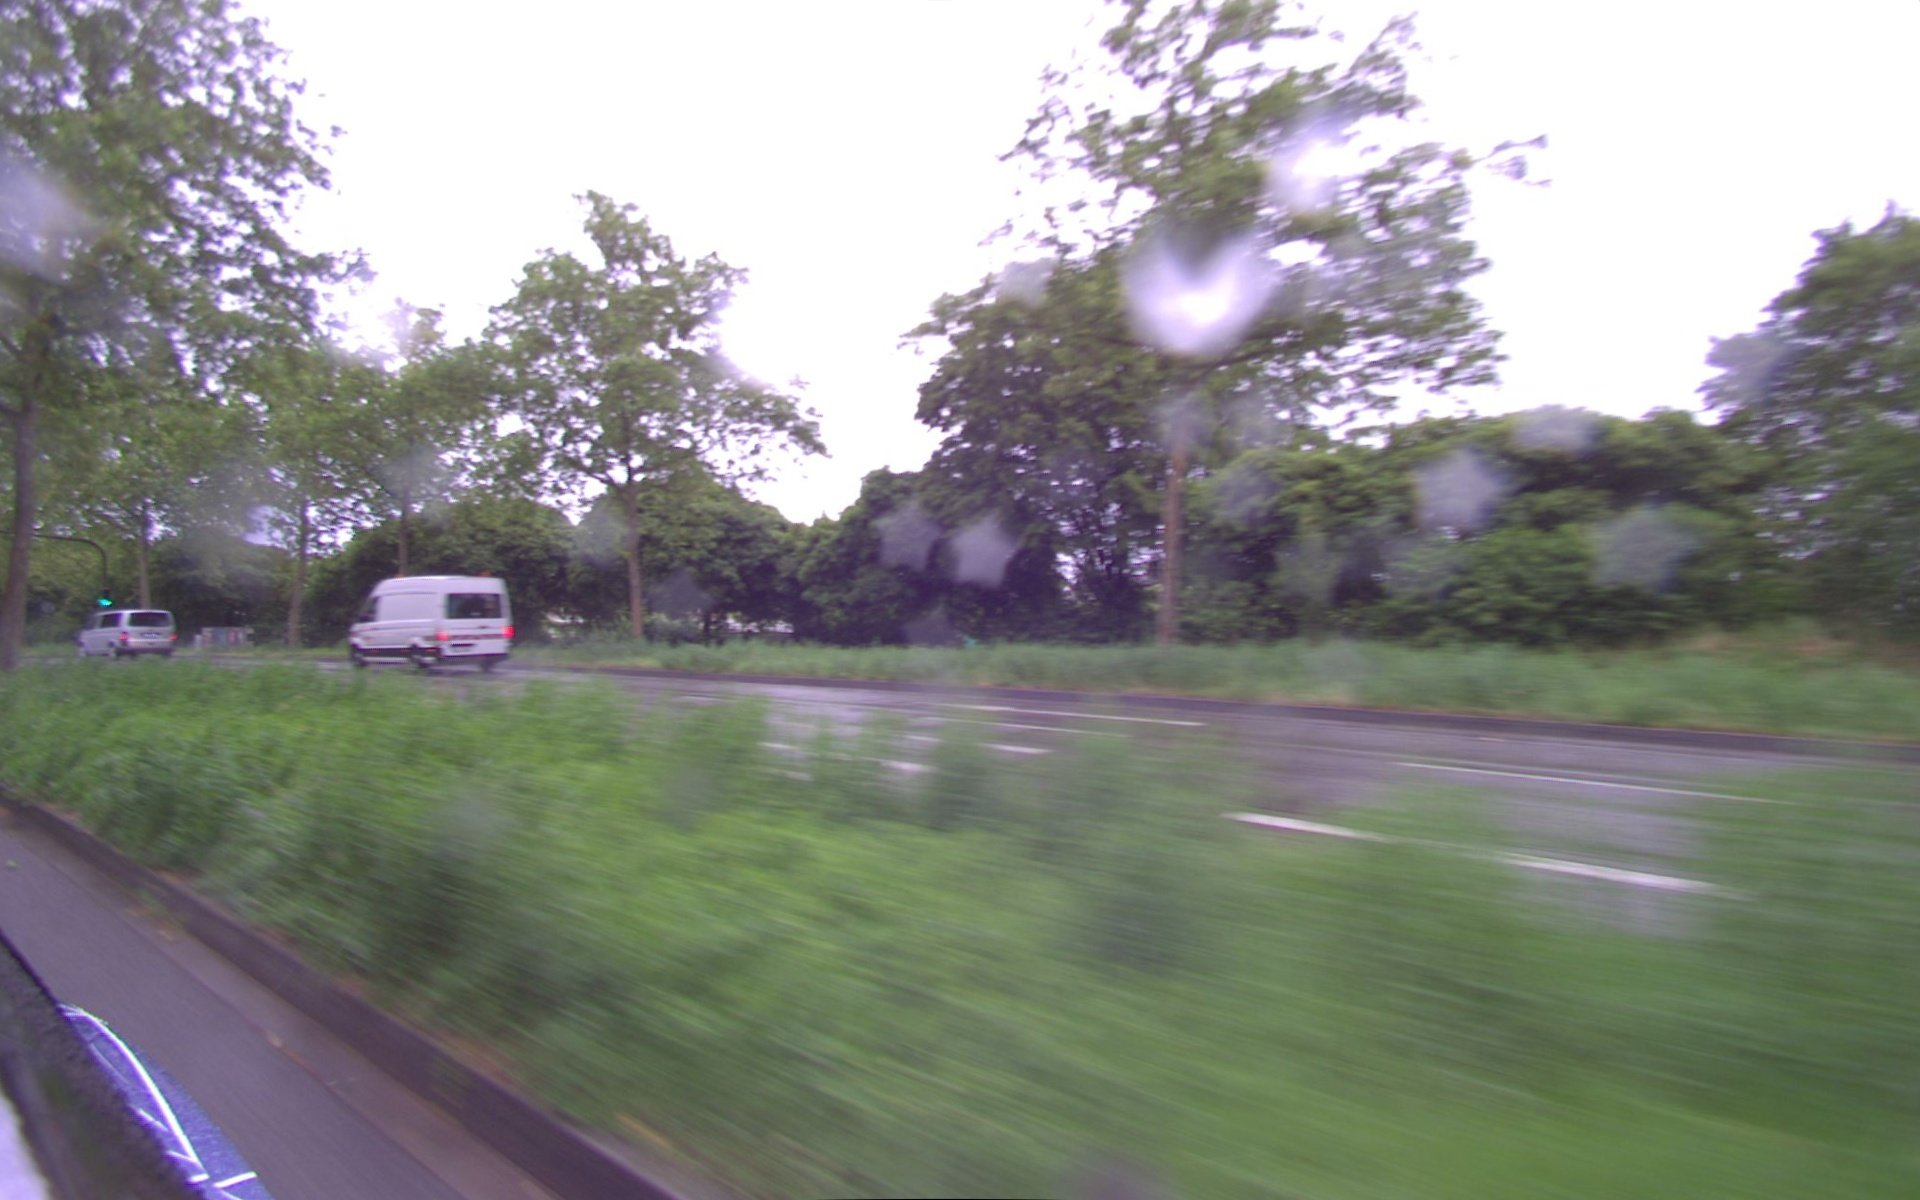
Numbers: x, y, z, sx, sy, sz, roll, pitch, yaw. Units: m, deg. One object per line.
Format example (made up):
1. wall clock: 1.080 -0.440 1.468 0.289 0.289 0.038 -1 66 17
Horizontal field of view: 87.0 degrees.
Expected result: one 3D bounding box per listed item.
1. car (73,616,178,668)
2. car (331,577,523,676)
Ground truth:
1. car: -33.470 1.680 40.547 5.185 1.955 1.917 -2 -2 35
2. car: -14.700 0.749 27.724 6.351 2.445 2.256 -2 -3 38
